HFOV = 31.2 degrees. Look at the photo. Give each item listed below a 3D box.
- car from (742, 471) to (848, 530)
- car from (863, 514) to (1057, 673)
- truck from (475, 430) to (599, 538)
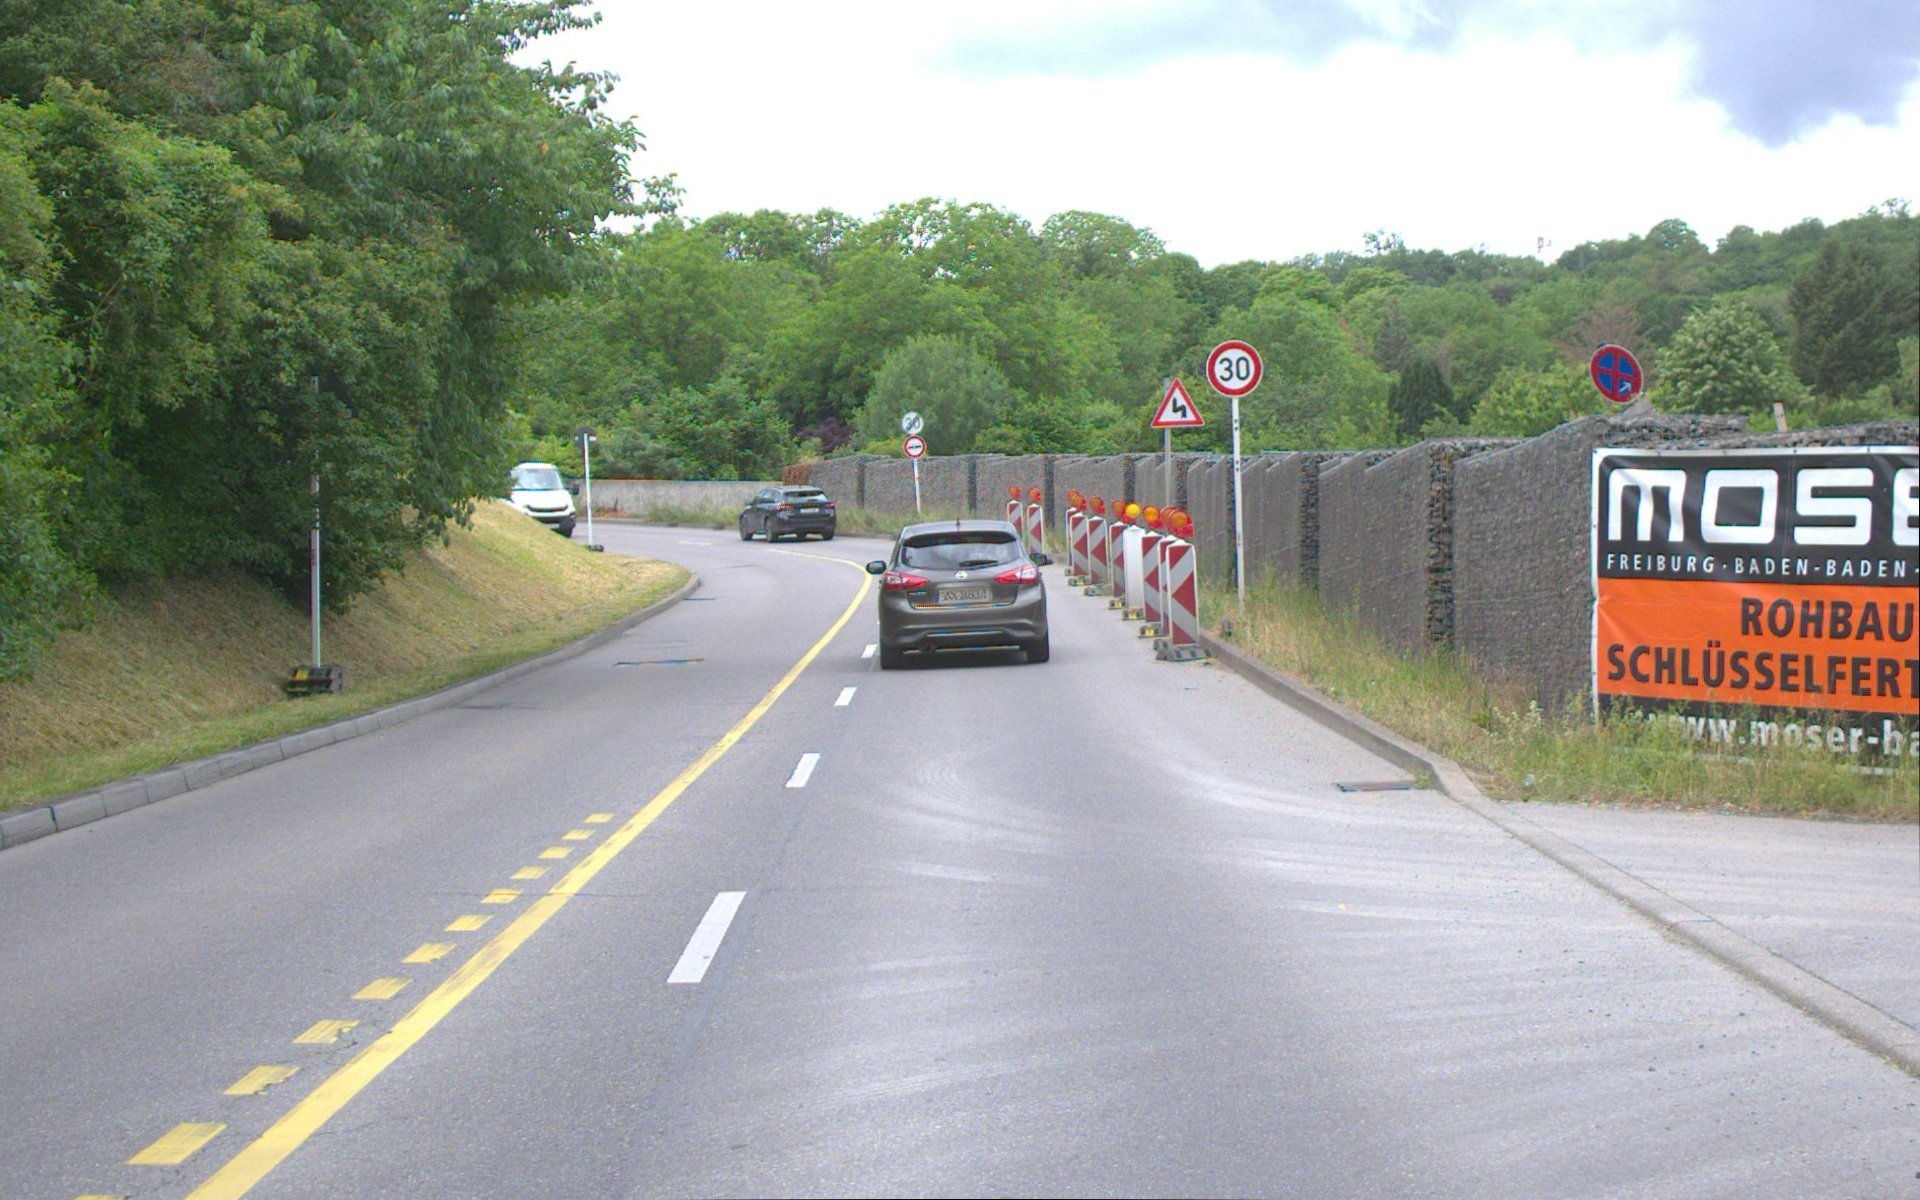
[{"bbox_3d":[-4.414,-2.622,91.301,1.779,1.448,3.859,1,0,-19],"label":"car"},{"bbox_3d":[-0.055,-0.120,37.094,1.839,1.478,4.001,-3,2,-3],"label":"car"},{"bbox_3d":[-12.629,-3.420,102.234,2.214,3.004,7.742,-3,2,-17],"label":"truck"}]
